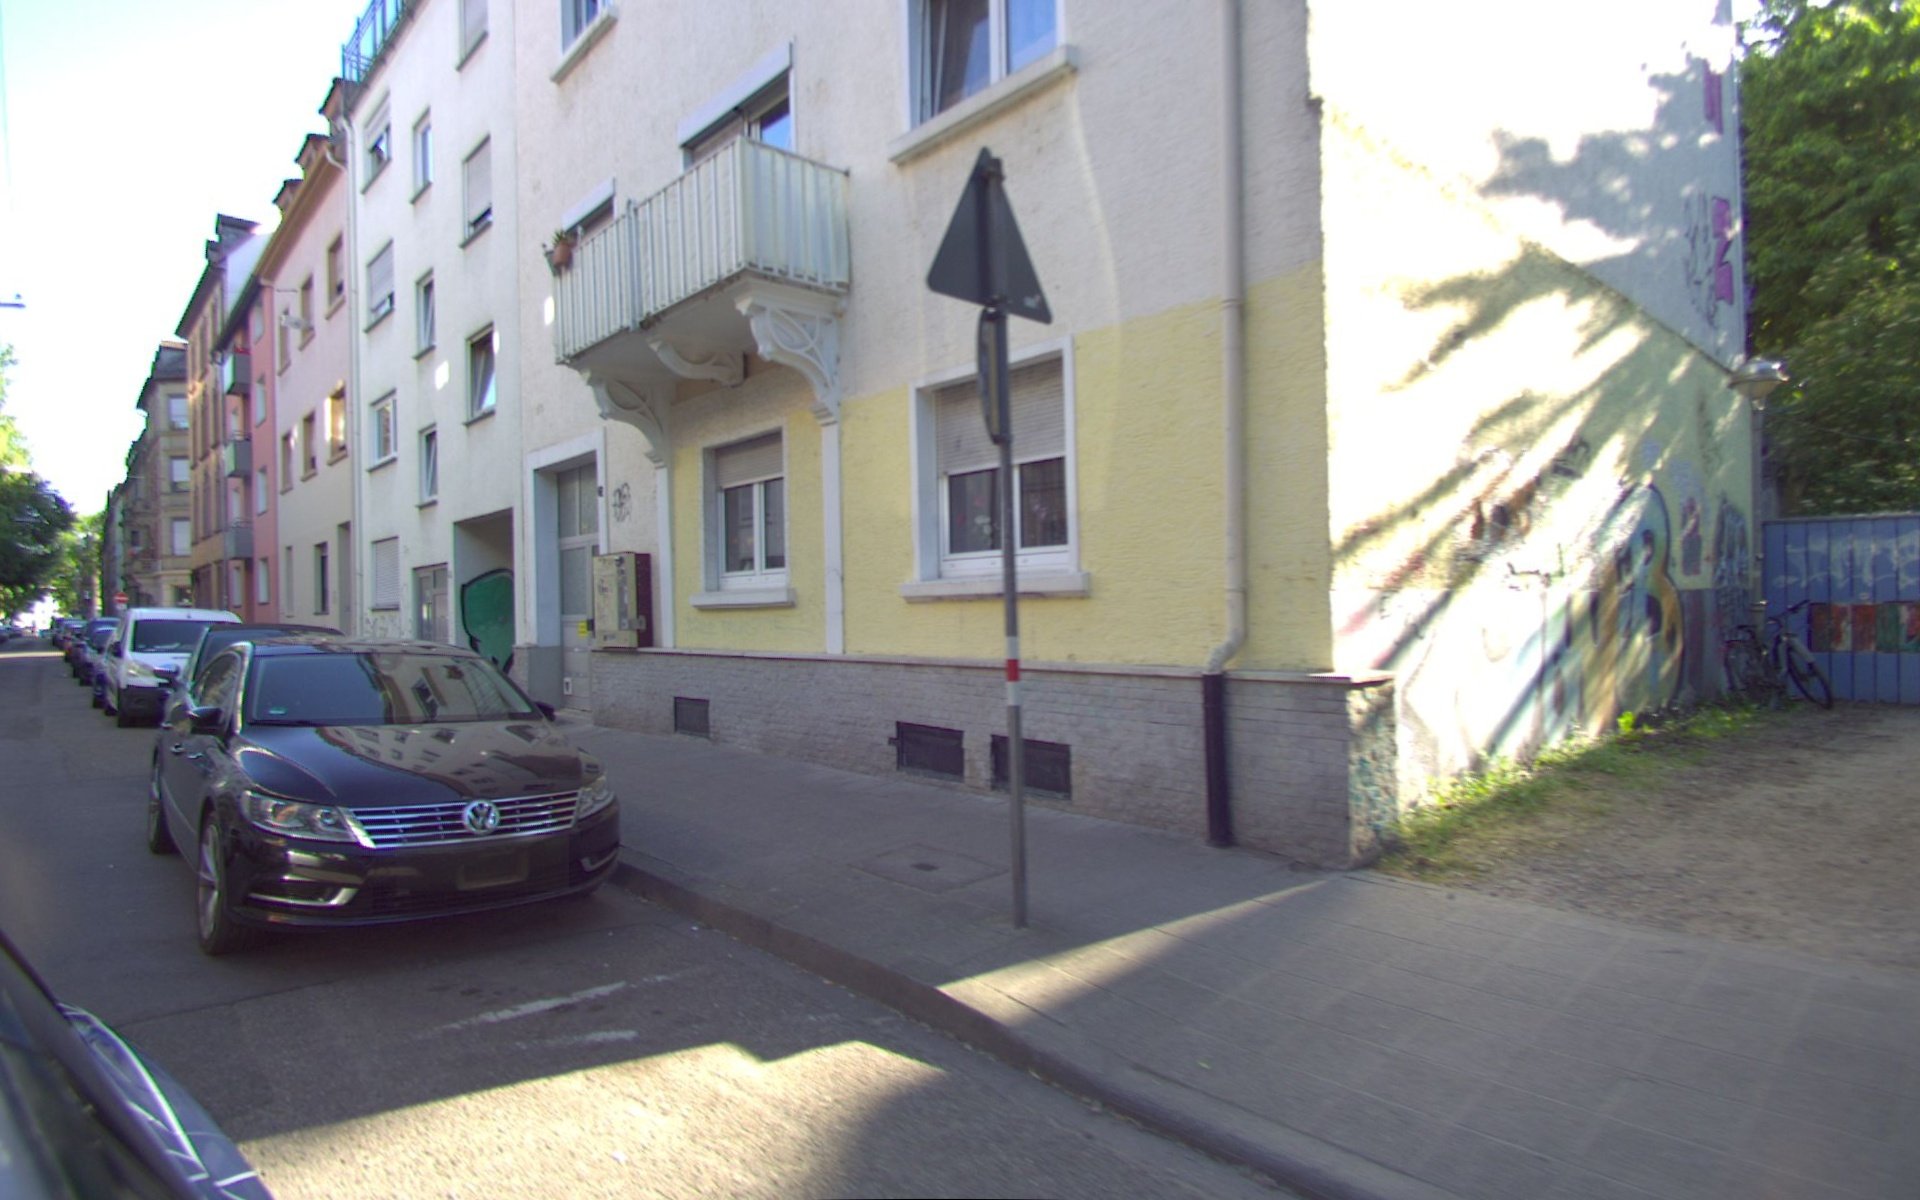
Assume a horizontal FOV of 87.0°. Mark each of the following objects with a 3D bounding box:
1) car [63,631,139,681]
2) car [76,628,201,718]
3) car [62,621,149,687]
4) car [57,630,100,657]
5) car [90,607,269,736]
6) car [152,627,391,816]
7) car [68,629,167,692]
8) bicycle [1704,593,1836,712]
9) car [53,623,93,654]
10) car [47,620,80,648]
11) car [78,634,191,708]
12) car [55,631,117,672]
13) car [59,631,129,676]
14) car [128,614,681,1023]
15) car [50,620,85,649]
[{"bbox_3d":[-28.827,1.832,33.937,1.743,1.545,4.108,3,-3,-42],"label":"car"},{"bbox_3d":[-15.752,1.344,19.559,1.649,1.539,4.093,3,-3,-37],"label":"car"},{"bbox_3d":[-25.552,1.570,30.215,1.743,1.838,4.108,4,-4,-42],"label":"car"},{"bbox_3d":[-51.480,2.520,59.058,1.743,1.483,3.937,4,-3,-42],"label":"car"},{"bbox_3d":[-12.383,1.039,15.951,1.729,1.754,4.318,4,-4,-44],"label":"car"},{"bbox_3d":[-6.744,1.025,9.771,1.573,1.462,3.492,4,-3,-39],"label":"car"},{"bbox_3d":[-21.917,1.528,26.279,1.743,1.483,3.820,4,-3,-42],"label":"car"},{"bbox_3d":[8.346,0.490,10.402,1.926,1.117,0.700,0,-1,-41],"label":"bicycle"},{"bbox_3d":[-55.200,2.397,62.958,1.743,1.871,3.997,1,-2,-42],"label":"car"},{"bbox_3d":[-69.306,2.620,78.243,1.743,2.103,4.268,4,-4,-42],"label":"car"},{"bbox_3d":[-18.701,1.550,22.854,1.651,1.470,4.089,4,-4,-43],"label":"car"},{"bbox_3d":[-35.818,2.081,41.459,1.743,1.545,4.108,4,-3,-42],"label":"car"},{"bbox_3d":[-31.908,1.944,37.251,1.743,1.545,4.108,4,-3,-42],"label":"car"},{"bbox_3d":[-3.482,0.852,5.852,1.758,1.454,4.397,4,-3,-42],"label":"car"},{"bbox_3d":[-64.715,2.487,73.348,1.743,1.940,4.268,4,-4,-42],"label":"car"}]
